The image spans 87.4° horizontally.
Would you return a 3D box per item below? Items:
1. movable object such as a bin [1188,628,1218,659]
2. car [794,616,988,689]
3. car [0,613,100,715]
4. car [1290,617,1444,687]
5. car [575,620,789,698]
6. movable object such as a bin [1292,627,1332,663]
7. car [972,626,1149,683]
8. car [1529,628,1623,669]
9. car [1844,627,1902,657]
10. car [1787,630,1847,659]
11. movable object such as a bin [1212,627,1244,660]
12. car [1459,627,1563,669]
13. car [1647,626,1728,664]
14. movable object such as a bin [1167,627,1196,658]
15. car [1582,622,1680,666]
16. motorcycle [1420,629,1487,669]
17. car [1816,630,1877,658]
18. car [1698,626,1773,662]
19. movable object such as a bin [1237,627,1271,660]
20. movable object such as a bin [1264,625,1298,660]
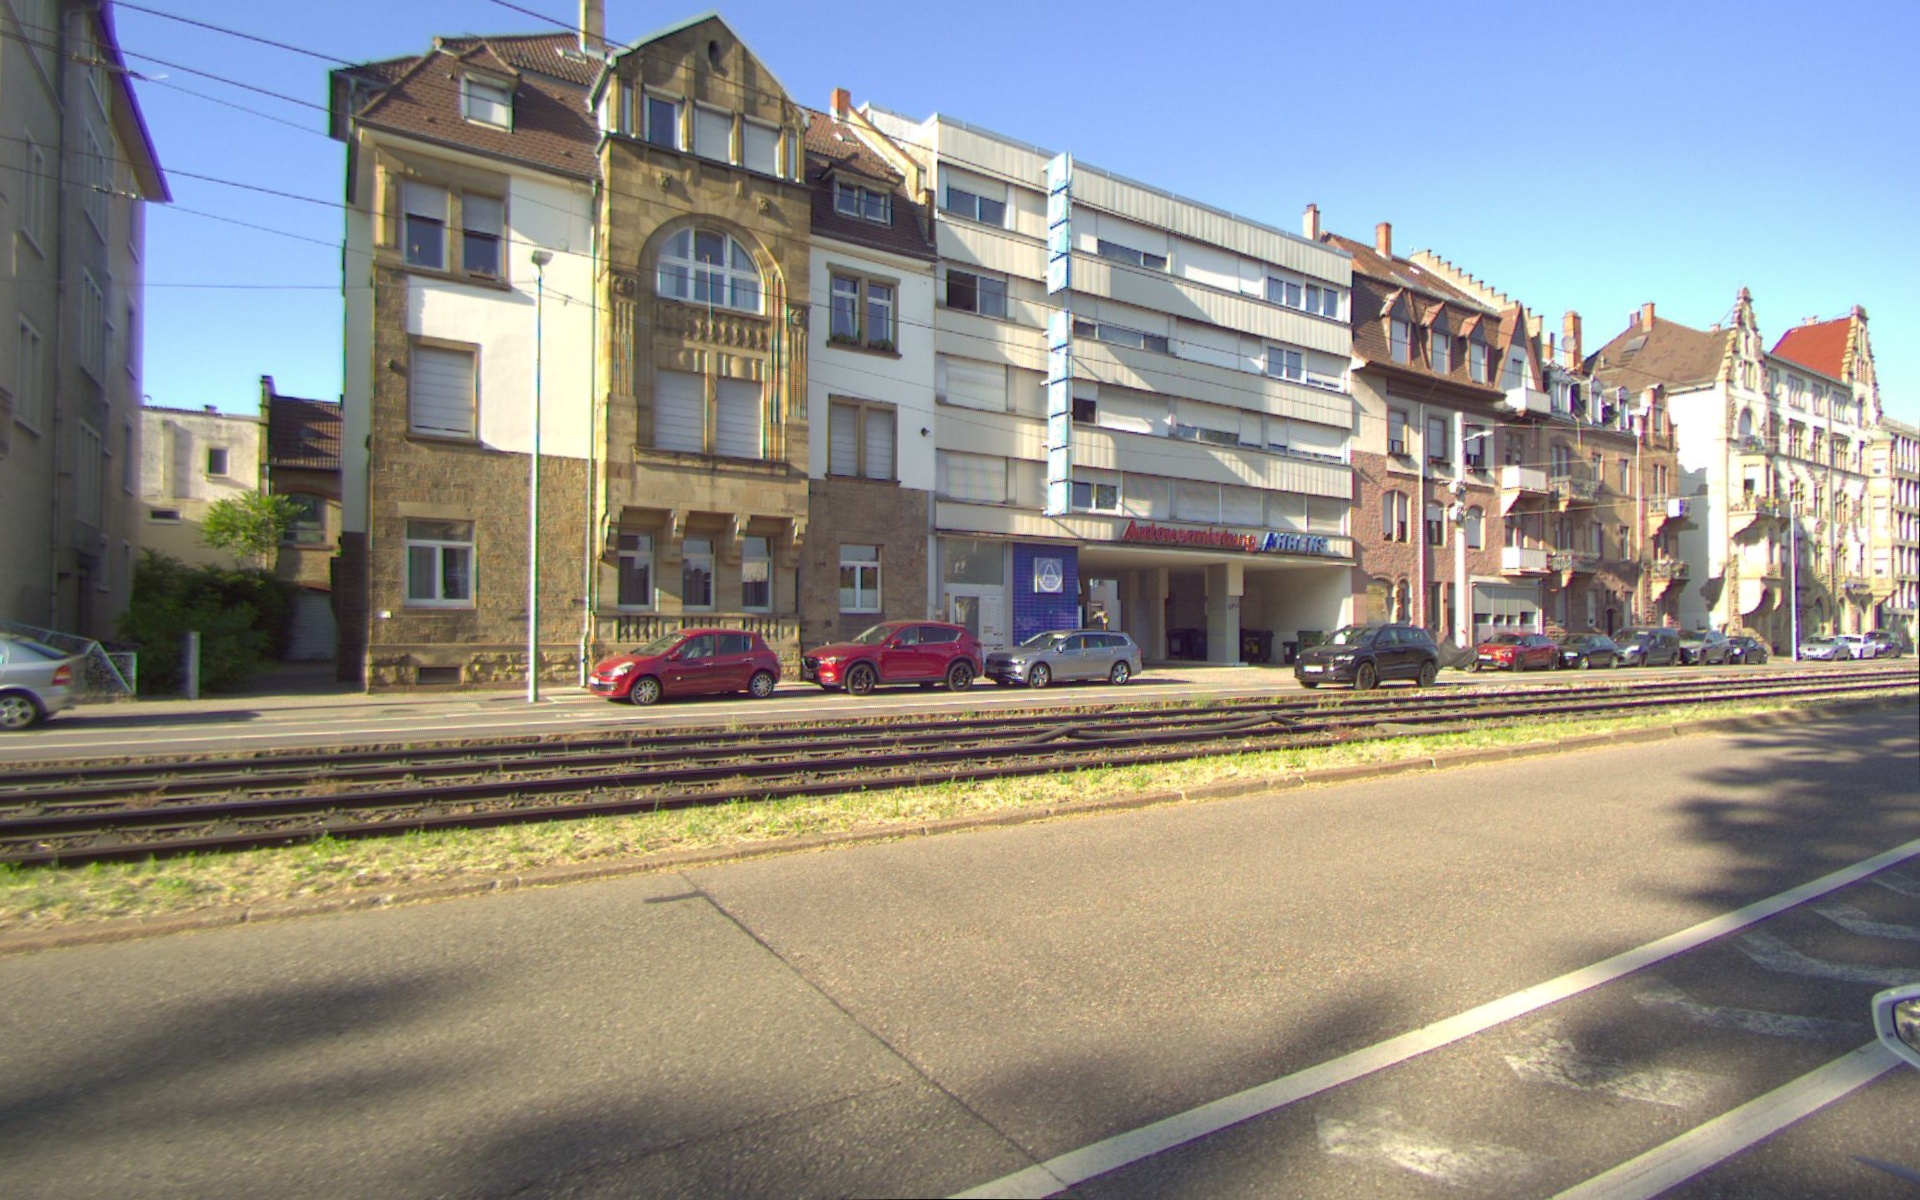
[{"bbox_3d":[10.850,1.938,44.887,0.628,1.389,1.260,1,-2,-32],"label":"movable object such as a bin"},{"bbox_3d":[-1.619,1.232,24.129,4.305,1.579,1.823,2,-1,-32],"label":"car"},{"bbox_3d":[-15.622,0.945,14.908,4.114,1.488,1.626,1,0,-33],"label":"car"},{"bbox_3d":[10.286,1.287,25.314,4.117,1.622,1.625,1,-3,-35],"label":"car"},{"bbox_3d":[-5.854,1.208,21.343,3.999,1.410,1.819,2,1,-38],"label":"car"},{"bbox_3d":[14.096,1.776,40.263,0.630,1.389,1.400,1,-1,-38],"label":"movable object such as a bin"},{"bbox_3d":[2.752,1.434,27.014,4.633,1.409,1.822,2,-1,-34],"label":"car"},{"bbox_3d":[25.766,1.987,41.983,3.957,1.530,1.783,2,1,-33],"label":"car"},{"bbox_3d":[58.050,2.638,63.861,4.142,1.742,1.783,1,1,-34],"label":"car"},{"bbox_3d":[49.105,2.519,57.540,3.963,1.530,1.781,1,1,-37],"label":"car"},{"bbox_3d":[11.638,1.877,43.678,0.628,1.389,1.260,1,-2,-32],"label":"movable object such as a bin"},{"bbox_3d":[21.608,1.857,39.341,4.222,1.479,1.783,1,1,-34],"label":"car"},{"bbox_3d":[34.543,2.115,47.661,4.154,1.674,1.676,2,1,-33],"label":"car"},{"bbox_3d":[10.145,1.944,46.021,0.628,1.389,1.260,1,-2,-32],"label":"movable object such as a bin"},{"bbox_3d":[29.728,1.942,44.466,4.402,1.777,1.785,2,1,-30],"label":"car"},{"bbox_3d":[18.504,1.833,37.691,2.045,1.345,0.836,3,2,42],"label":"motorcycle"},{"bbox_3d":[53.553,2.625,60.666,4.142,1.530,1.783,1,1,-34],"label":"car"},{"bbox_3d":[39.390,2.201,50.982,4.154,1.674,1.676,2,1,-33],"label":"car"},{"bbox_3d":[12.485,1.844,42.637,0.629,1.389,1.258,2,-2,-36],"label":"movable object such as a bin"},{"bbox_3d":[13.249,1.755,41.420,0.630,1.389,1.183,1,-1,-39],"label":"movable object such as a bin"}]
